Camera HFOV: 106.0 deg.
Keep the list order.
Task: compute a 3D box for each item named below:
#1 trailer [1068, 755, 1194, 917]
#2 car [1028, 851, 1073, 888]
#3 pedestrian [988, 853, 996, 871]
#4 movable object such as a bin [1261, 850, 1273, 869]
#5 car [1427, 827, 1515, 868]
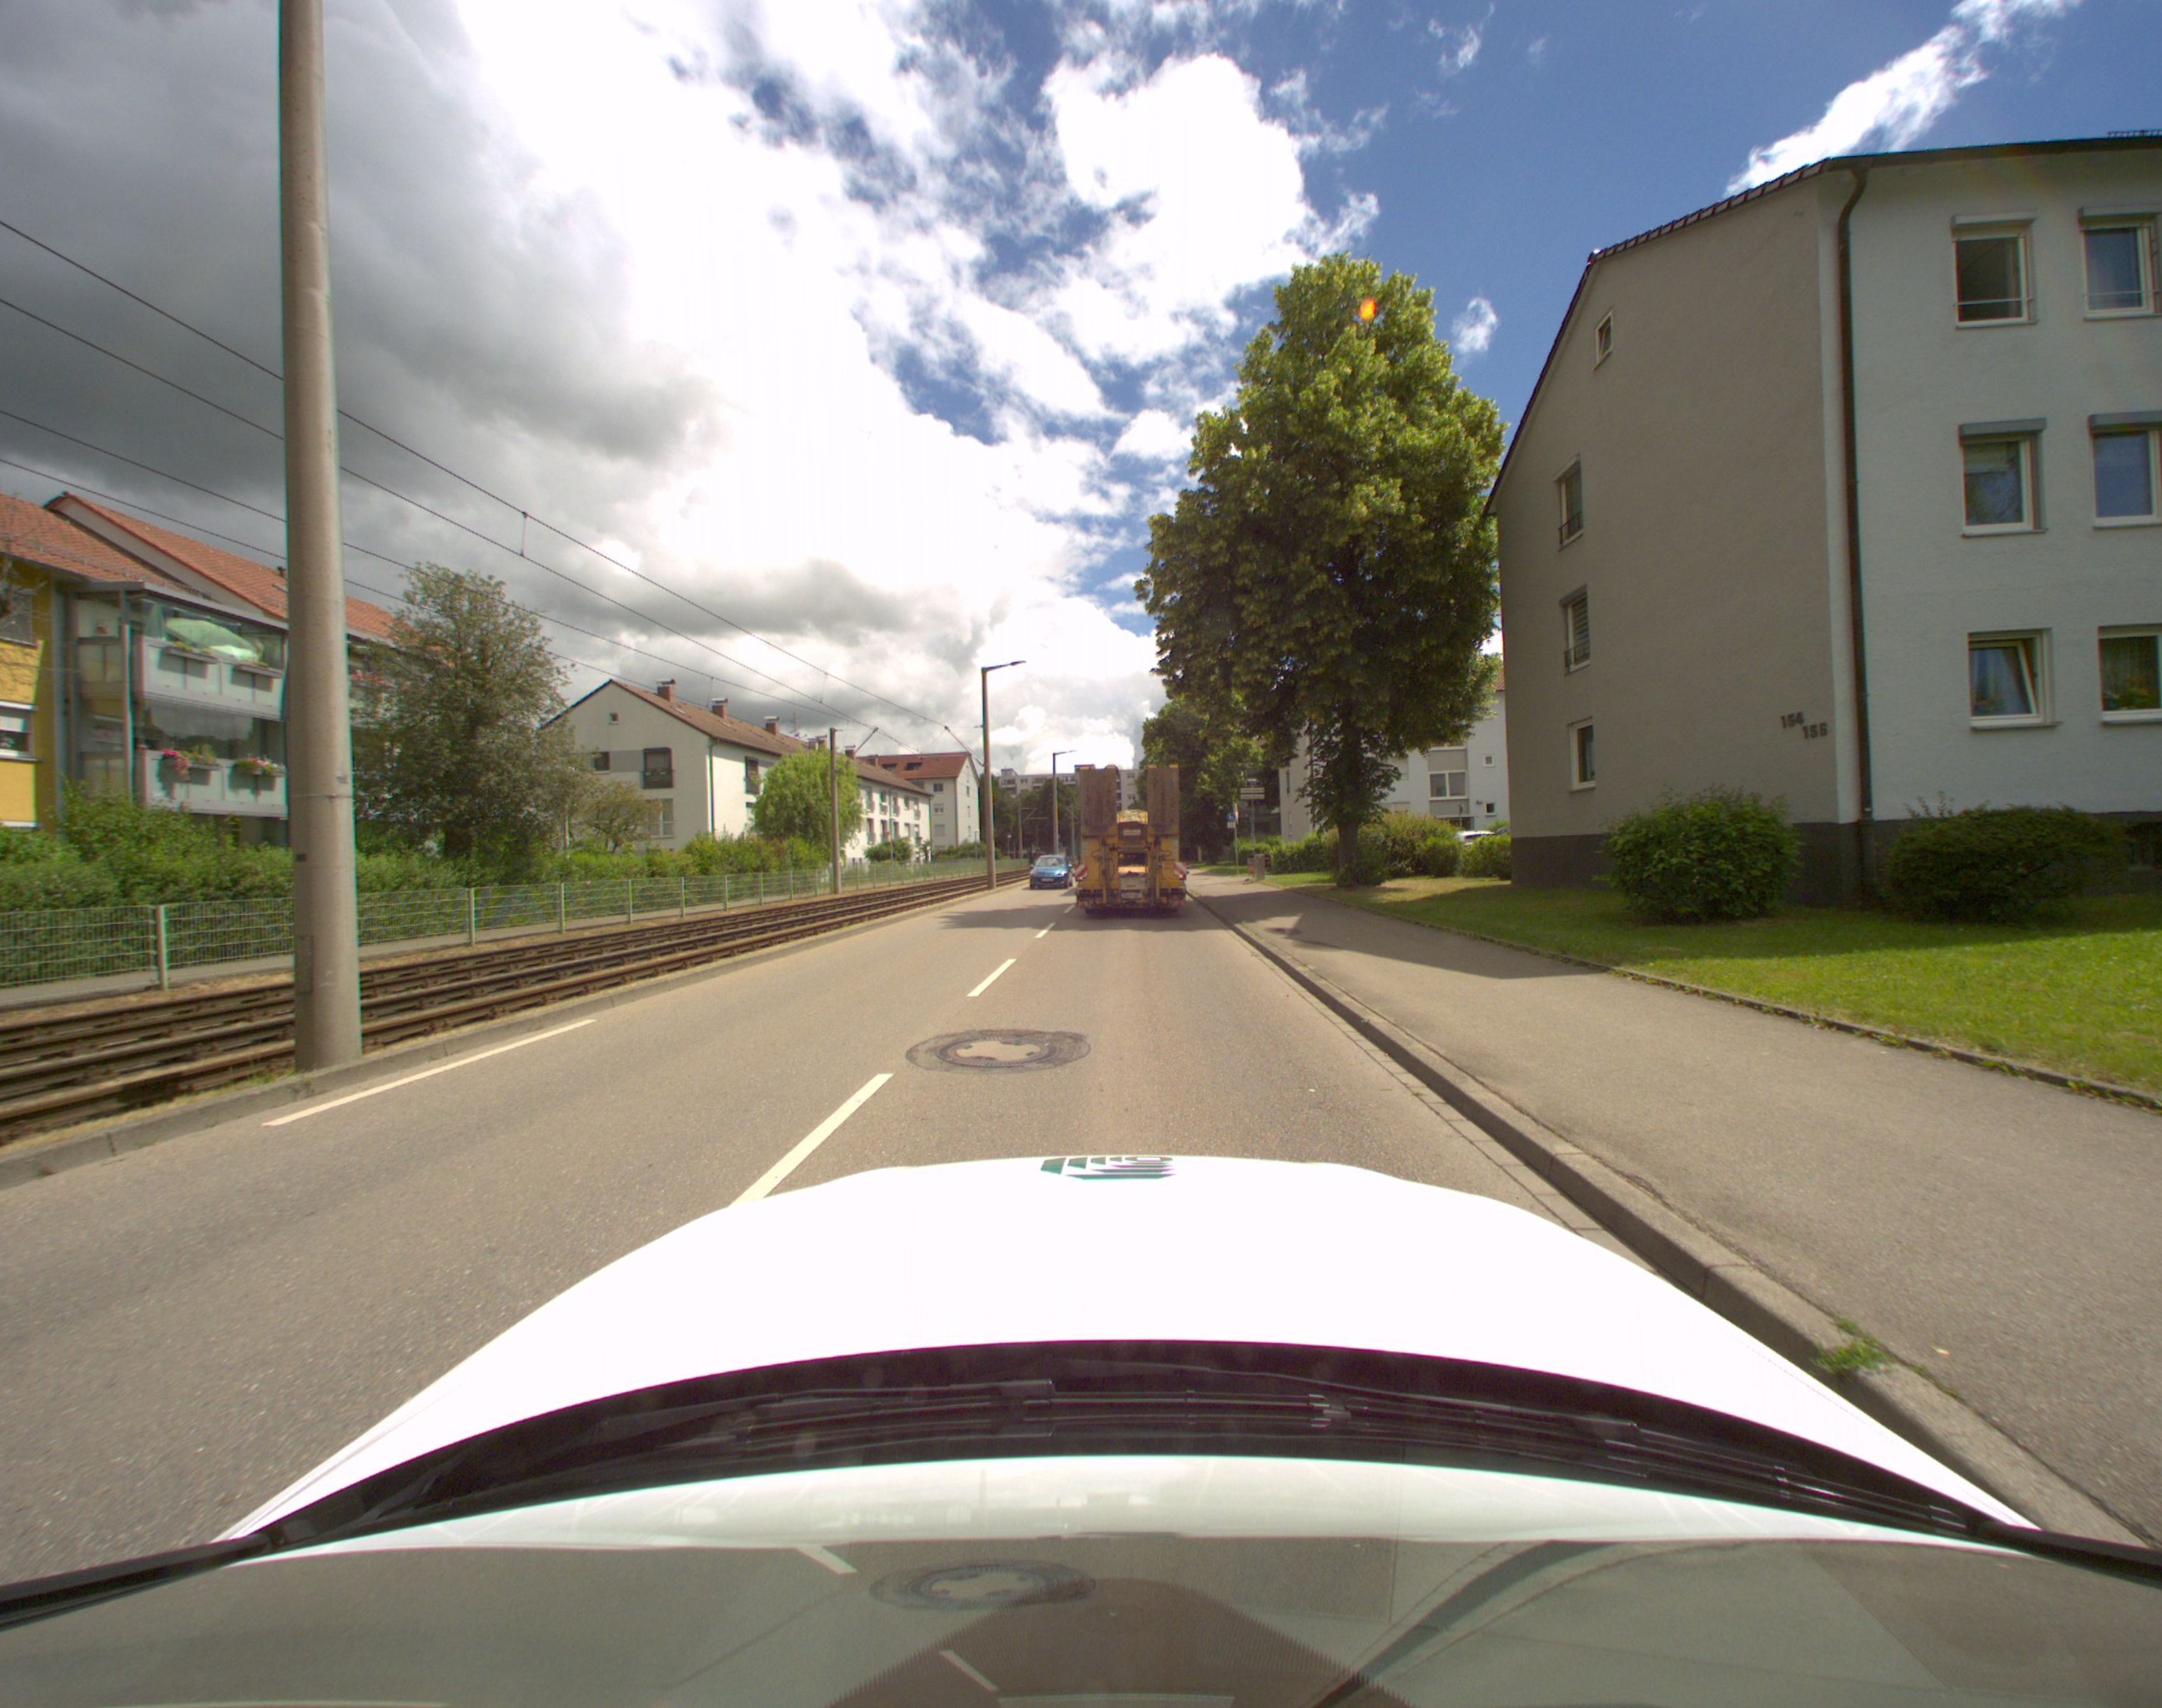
[{"bbox_3d":[1.237,-0.377,24.597,2.817,3.646,12.355,0,0,1],"label":"trailer"},{"bbox_3d":[-1.302,0.644,36.236,1.617,1.525,3.584,-1,0,3],"label":"car"},{"bbox_3d":[-9.289,0.806,85.005,0.656,1.849,0.769,-3,-1,3],"label":"pedestrian"},{"bbox_3d":[9.843,0.279,43.119,0.494,0.955,0.581,-3,-1,3],"label":"movable object such as a bin"},{"bbox_3d":[14.362,-0.204,30.213,1.668,1.416,3.746,-1,0,4],"label":"car"}]
